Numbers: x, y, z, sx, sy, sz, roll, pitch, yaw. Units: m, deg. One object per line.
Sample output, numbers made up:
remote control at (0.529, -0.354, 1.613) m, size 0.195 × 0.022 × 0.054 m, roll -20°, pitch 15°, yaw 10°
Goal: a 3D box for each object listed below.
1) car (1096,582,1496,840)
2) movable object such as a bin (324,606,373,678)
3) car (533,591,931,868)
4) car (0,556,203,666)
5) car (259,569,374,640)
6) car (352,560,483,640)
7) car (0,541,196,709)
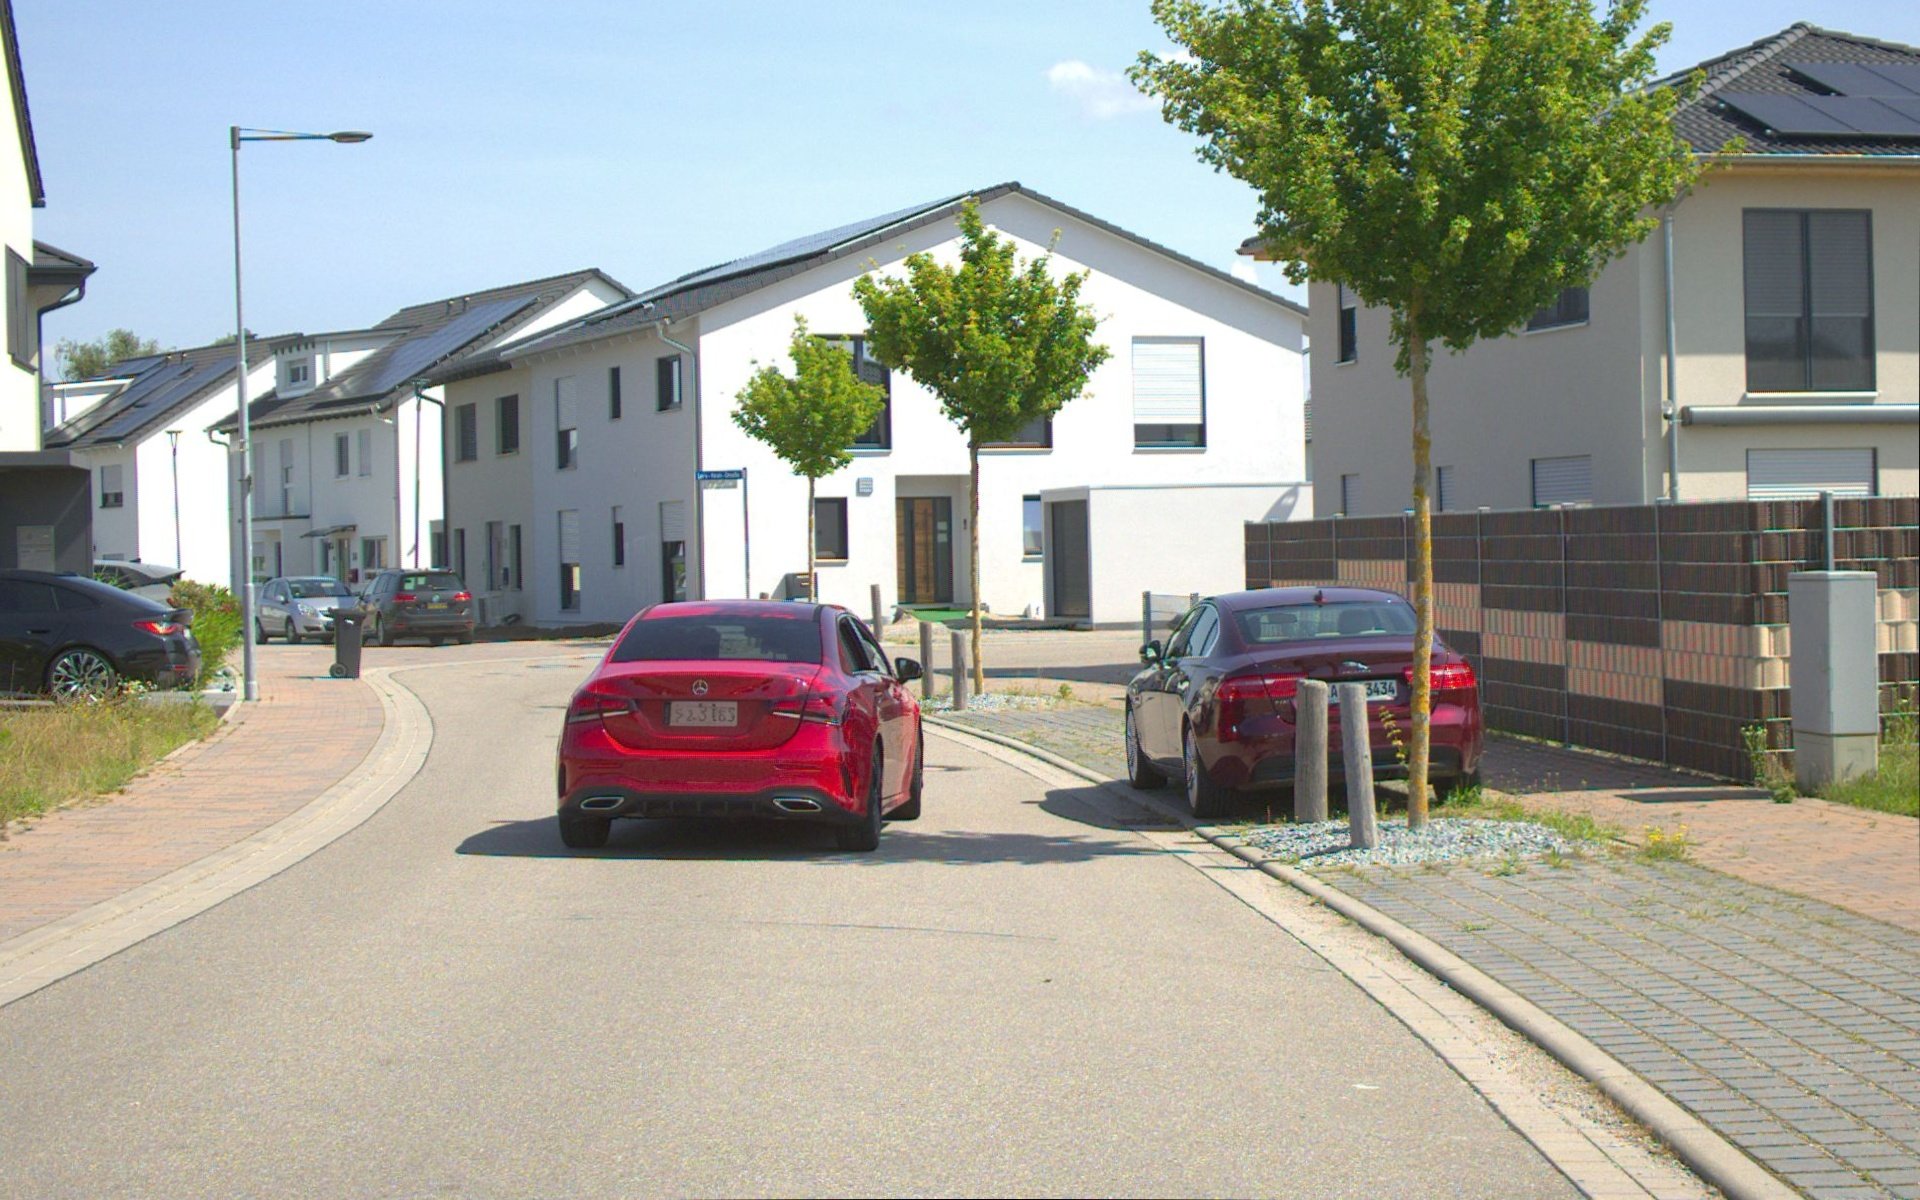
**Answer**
car at (2.127, 0.657, 23.054) m, size 1.754 × 1.358 × 4.576 m, roll -6°, pitch 1°, yaw -5°
movable object such as a bin at (-8.108, 0.553, 45.562) m, size 0.534 × 0.933 × 0.526 m, roll 1°, pitch 0°, yaw 1°
car at (-1.239, 0.681, 20.578) m, size 1.763 × 1.433 × 4.519 m, roll 0°, pitch 1°, yaw 4°
car at (-12.668, 0.144, 47.855) m, size 3.986 × 1.481 × 1.754 m, roll 0°, pitch 1°, yaw -6°
car at (-13.977, 0.092, 74.586) m, size 1.676 × 1.459 × 3.945 m, roll -2°, pitch 1°, yaw -22°
car at (-10.300, -0.016, 65.117) m, size 1.726 × 1.418 × 4.001 m, roll -2°, pitch 1°, yaw -19°
car at (-10.102, 0.211, 34.963) m, size 4.374 × 1.626 × 1.771 m, roll 2°, pitch 0°, yaw -8°
